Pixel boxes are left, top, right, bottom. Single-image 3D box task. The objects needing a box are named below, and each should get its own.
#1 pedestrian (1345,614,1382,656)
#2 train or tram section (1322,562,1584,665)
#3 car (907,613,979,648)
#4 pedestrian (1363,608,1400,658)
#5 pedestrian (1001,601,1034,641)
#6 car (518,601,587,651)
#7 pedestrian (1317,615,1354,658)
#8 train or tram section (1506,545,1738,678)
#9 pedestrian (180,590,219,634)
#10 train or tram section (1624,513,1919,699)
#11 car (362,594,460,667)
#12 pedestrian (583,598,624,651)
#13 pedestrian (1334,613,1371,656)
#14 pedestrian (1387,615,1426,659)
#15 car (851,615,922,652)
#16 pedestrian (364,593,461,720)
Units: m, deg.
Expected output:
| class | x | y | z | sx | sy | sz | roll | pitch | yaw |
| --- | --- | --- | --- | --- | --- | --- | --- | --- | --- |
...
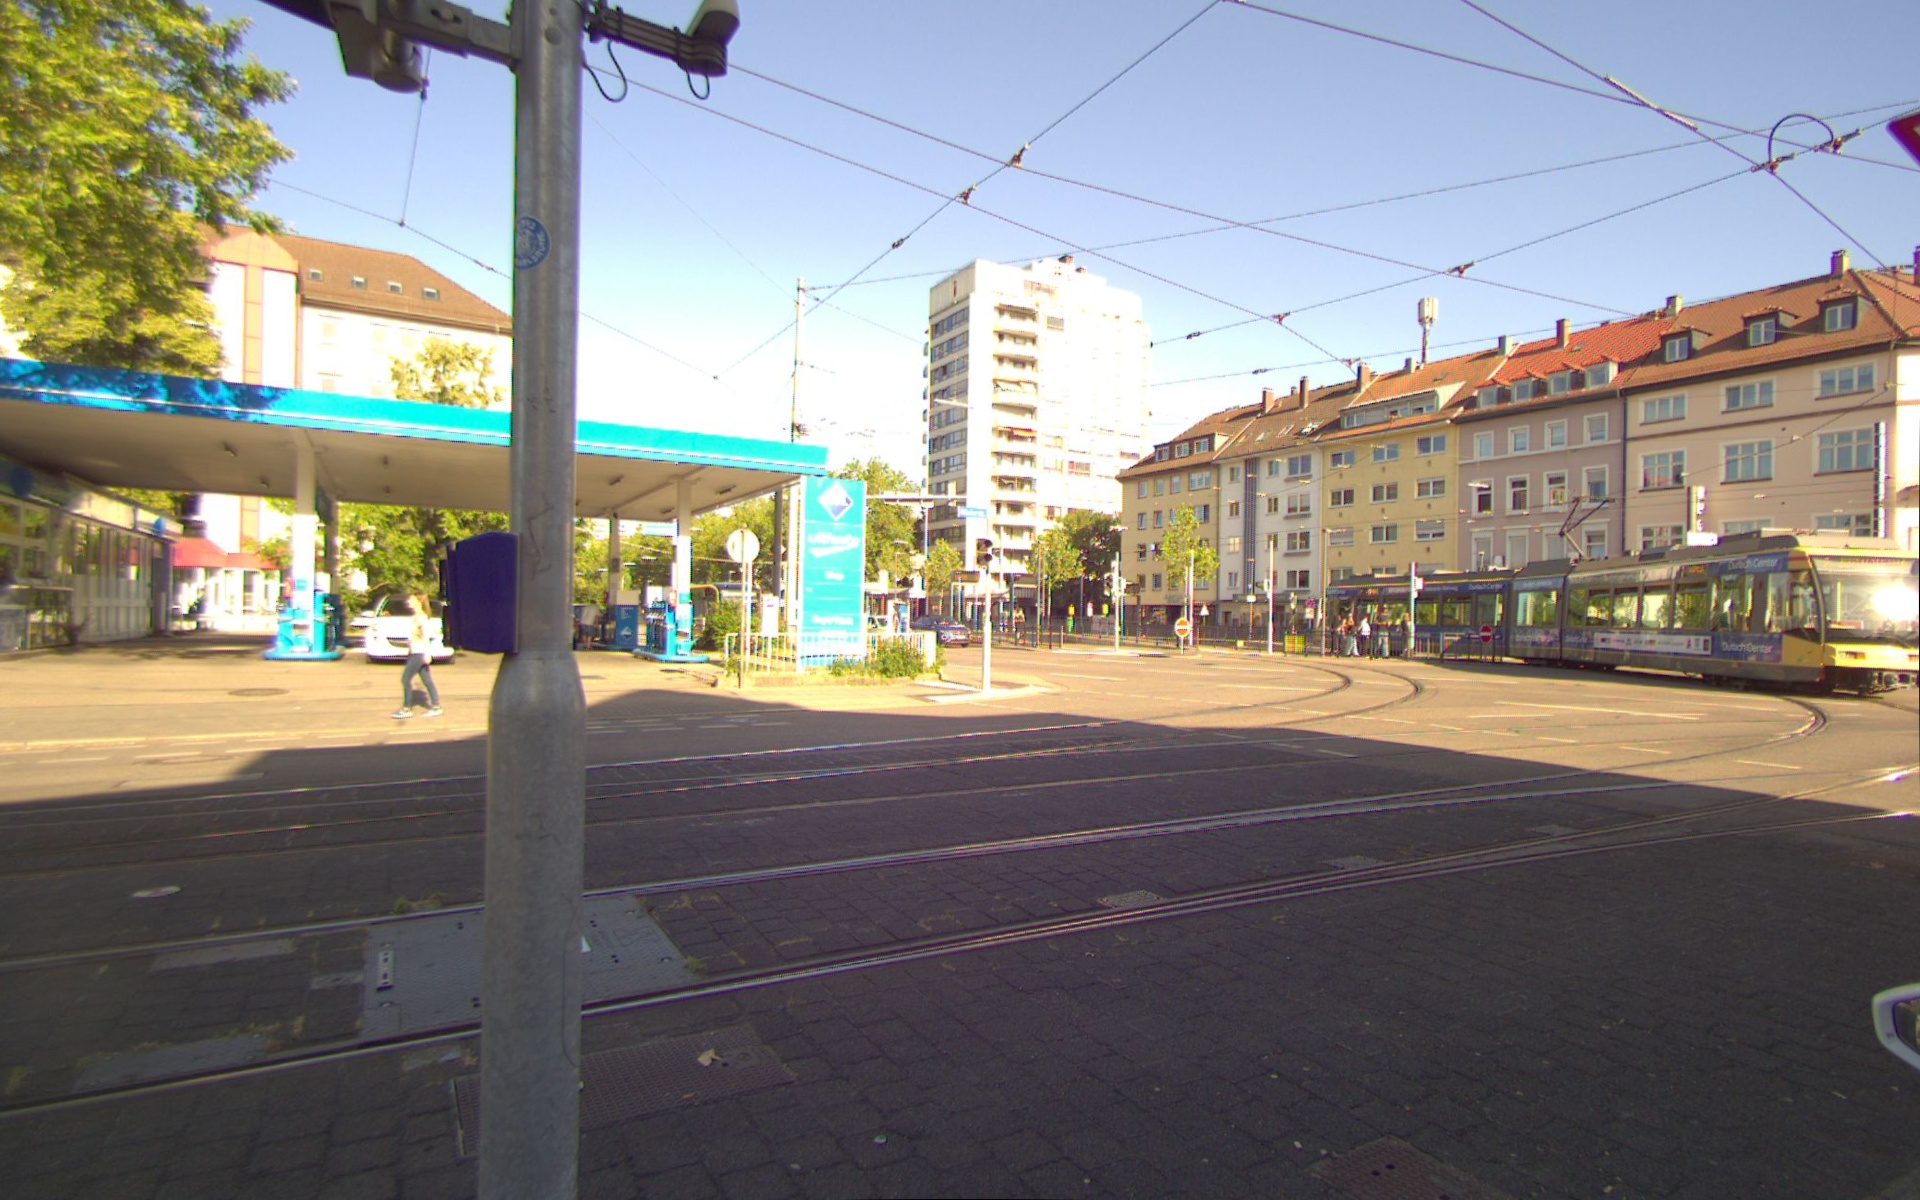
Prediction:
| class | x | y | z | sx | sy | sz | roll | pitch | yaw |
| --- | --- | --- | --- | --- | --- | --- | --- | --- | --- |
| pedestrian | 15.754 | 1.353 | 39.262 | 0.925 | 1.619 | 1.007 | 1 | -1 | -13 |
| train or tram section | 19.293 | 0.542 | 40.791 | 2.731 | 3.546 | 12.002 | 1 | -1 | -12 |
| car | -0.845 | 1.447 | 48.328 | 1.863 | 1.601 | 3.971 | 1 | -1 | -28 |
| pedestrian | 15.427 | 1.193 | 36.766 | 1.002 | 1.798 | 0.930 | 2 | -1 | -42 |
| pedestrian | 2.768 | 1.010 | 48.188 | 1.156 | 1.870 | 1.098 | 2 | -1 | -28 |
| car | -13.442 | 0.837 | 33.025 | 1.725 | 1.431 | 4.061 | 5 | -2 | -26 |
| pedestrian | 14.366 | 1.378 | 38.422 | 0.991 | 1.619 | 0.940 | 1 | -1 | -10 |
| train or tram section | 20.025 | 0.369 | 31.154 | 2.766 | 3.546 | 8.467 | 1 | -1 | 9 |
| pedestrian | -32.885 | 0.509 | 43.451 | 1.165 | 1.853 | 1.051 | 1 | -1 | -30 |
| train or tram section | 18.599 | 0.181 | 23.127 | 2.766 | 3.546 | 7.967 | 1 | -1 | 12 |
| car | -12.334 | 0.653 | 22.541 | 1.760 | 1.483 | 3.968 | 1 | -1 | -30 |
| pedestrian | -11.413 | 0.779 | 32.193 | 1.144 | 1.647 | 0.810 | 1 | -1 | -15 |
| pedestrian | 15.124 | 1.327 | 38.739 | 0.992 | 1.619 | 0.939 | 1 | -1 | -12 |
| pedestrian | 16.616 | 1.370 | 37.370 | 0.924 | 1.619 | 1.008 | 1 | -1 | -8 |
| car | -3.469 | 1.526 | 46.747 | 1.863 | 1.601 | 3.971 | 1 | -1 | -28 |
| pedestrian | -7.336 | 0.740 | 13.501 | 1.092 | 1.641 | 0.711 | 1 | -1 | -28 |
